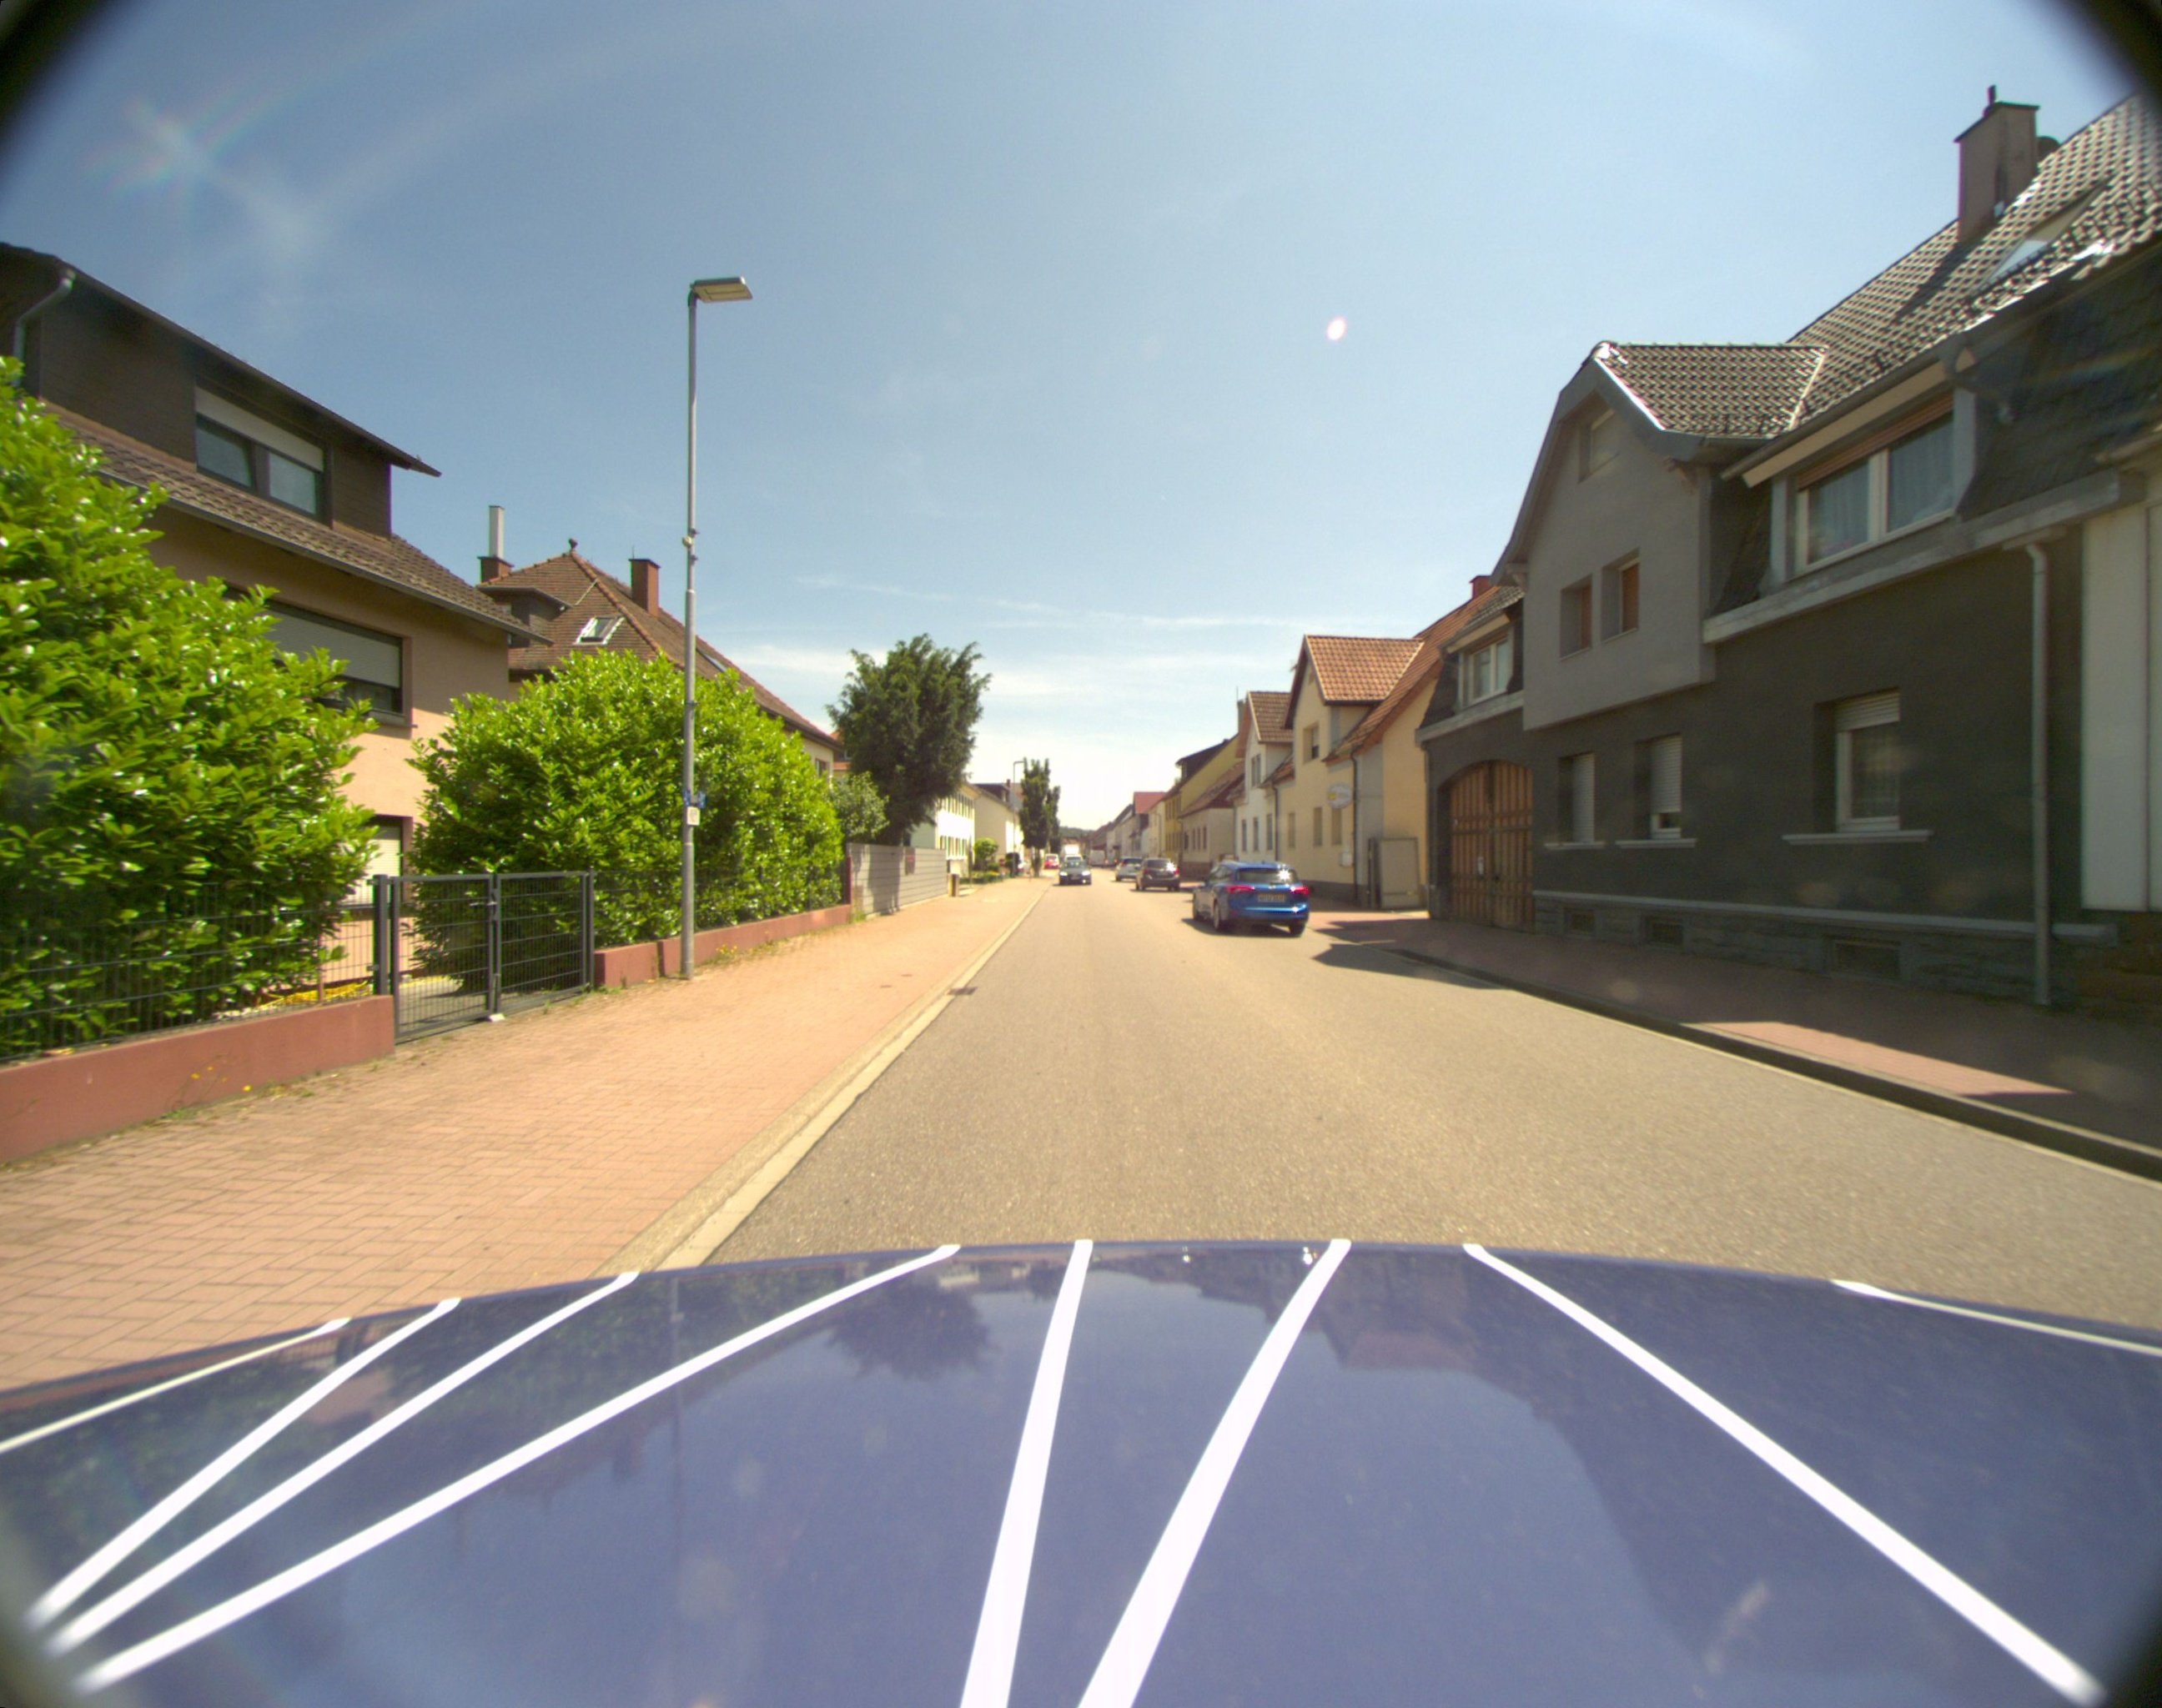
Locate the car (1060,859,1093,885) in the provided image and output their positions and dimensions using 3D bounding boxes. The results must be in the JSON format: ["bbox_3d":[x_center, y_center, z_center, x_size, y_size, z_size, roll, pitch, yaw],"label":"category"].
[{"bbox_3d":[-0.247,0.996,42.677,1.705,1.346,4.000,-2,0,0],"label":"car"}]

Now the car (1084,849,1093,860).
[{"bbox_3d":[1.663,0.116,167.544,1.983,2.502,4.250,2,0,-1],"label":"car"}]

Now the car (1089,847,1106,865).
[{"bbox_3d":[2.347,0.275,107.400,2.116,2.517,4.913,2,0,-2],"label":"car"}]

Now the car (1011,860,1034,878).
[{"bbox_3d":[-5.203,1.327,67.969,1.509,1.521,4.436,-2,0,2],"label":"car"}]

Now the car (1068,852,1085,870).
[{"bbox_3d":[-0.426,0.675,76.664,1.636,1.833,3.570,0,0,1],"label":"car"}]

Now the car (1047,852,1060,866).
[{"bbox_3d":[-3.764,0.727,104.841,1.637,1.833,3.569,1,0,-1],"label":"car"}]

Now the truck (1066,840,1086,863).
[{"bbox_3d":[-0.804,-0.389,122.818,2.898,3.516,12.952,0,0,0],"label":"truck"}]

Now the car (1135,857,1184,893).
[{"bbox_3d":[3.500,0.915,34.486,1.681,1.450,3.928,2,0,-2],"label":"car"}]

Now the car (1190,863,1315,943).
[{"bbox_3d":[3.584,0.956,16.682,1.650,1.445,4.400,1,0,-1],"label":"car"}]

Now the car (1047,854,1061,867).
[{"bbox_3d":[-3.479,0.852,98.080,1.636,1.572,3.569,1,0,0],"label":"car"}]

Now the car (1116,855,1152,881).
[{"bbox_3d":[3.418,0.884,49.637,1.878,1.593,4.430,2,0,-2],"label":"car"}]
